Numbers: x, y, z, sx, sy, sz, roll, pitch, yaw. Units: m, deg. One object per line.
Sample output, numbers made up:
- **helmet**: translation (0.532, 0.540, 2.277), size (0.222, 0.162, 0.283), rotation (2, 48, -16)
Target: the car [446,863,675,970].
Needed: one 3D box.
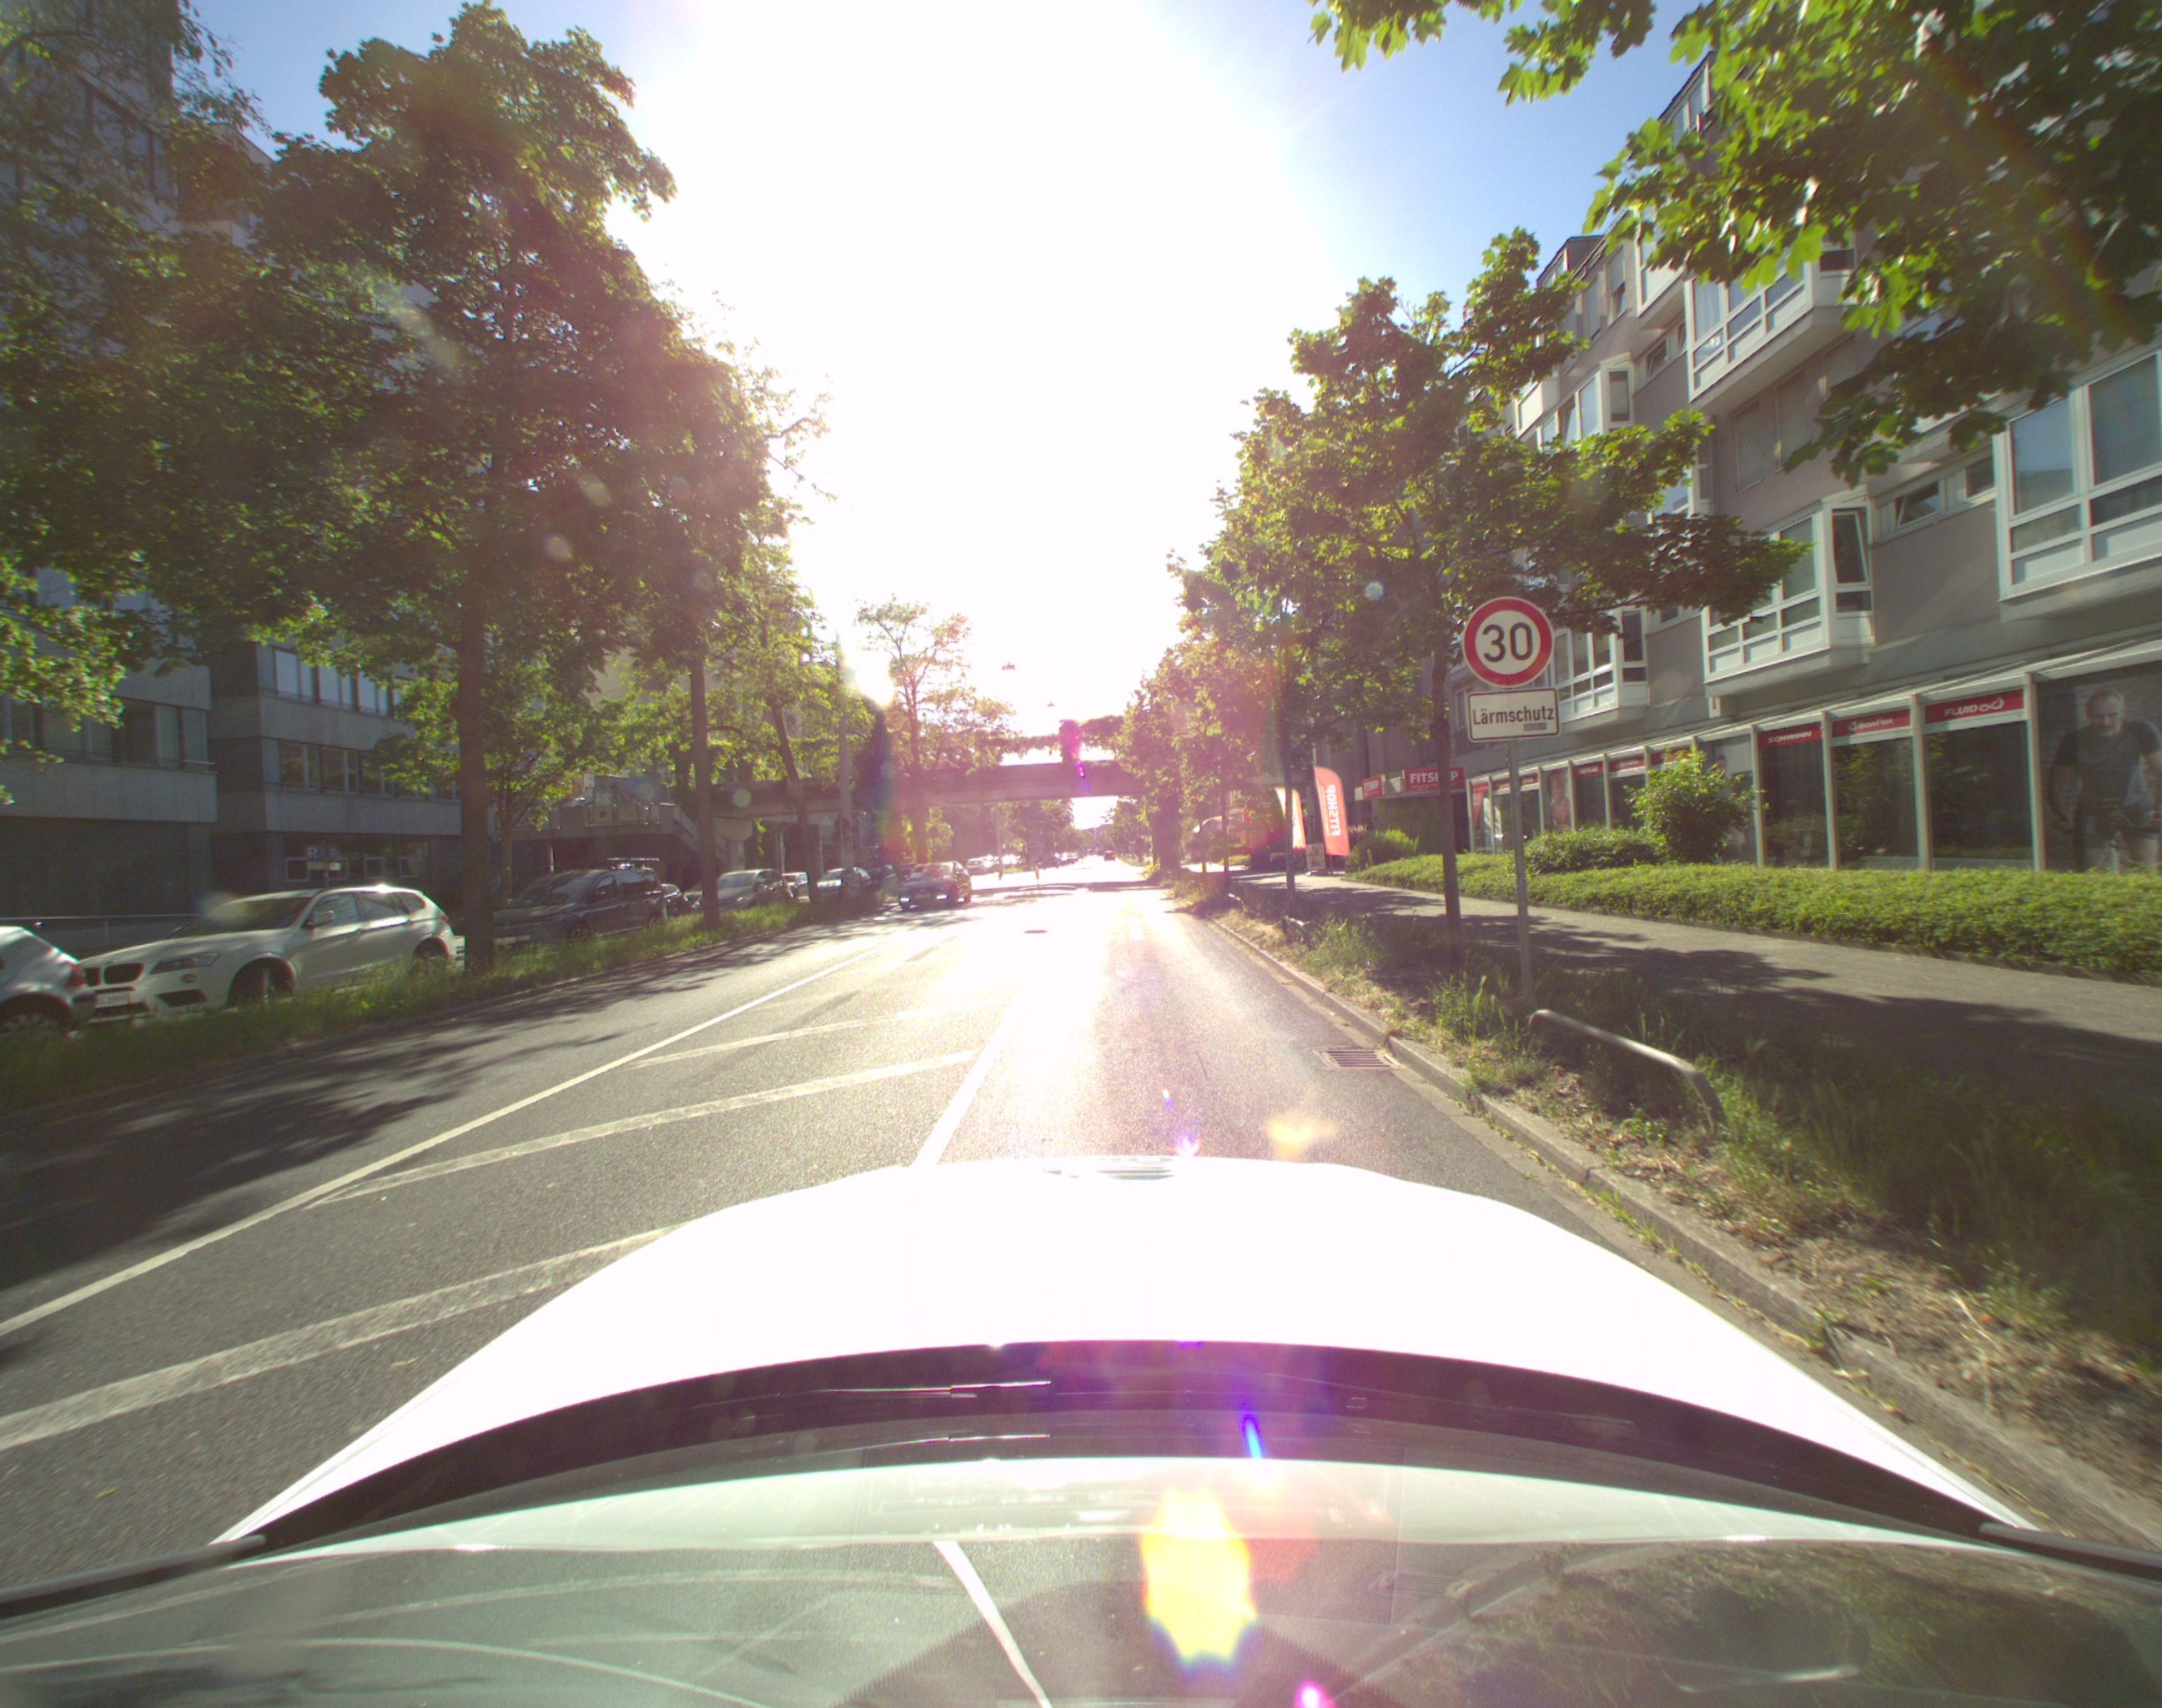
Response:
- **car**: translation (-10.828, 1.179, 17.441), size (1.849, 1.850, 4.562), rotation (-2, 0, 1)

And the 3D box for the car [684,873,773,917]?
- **car**: translation (-15.256, 1.735, 35.527), size (1.849, 1.523, 4.319), rotation (-4, 0, 1)

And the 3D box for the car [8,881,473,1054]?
- **car**: translation (-11.171, 1.348, 11.488), size (1.852, 1.684, 4.659), rotation (-2, 0, -4)

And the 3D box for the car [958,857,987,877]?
- **car**: translation (-9.113, 1.038, 68.721), size (1.849, 1.523, 4.078), rotation (-2, 0, 1)

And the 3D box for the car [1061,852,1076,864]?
- **car**: translation (-1.728, 0.511, 110.135), size (1.849, 1.523, 4.319), rotation (-2, 0, 1)

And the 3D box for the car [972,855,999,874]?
- **car**: translation (-8.772, 0.950, 75.246), size (1.849, 1.523, 4.319), rotation (-2, 0, 1)

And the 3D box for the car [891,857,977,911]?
- **car**: translation (-4.780, 0.927, 27.064), size (1.849, 1.439, 4.320), rotation (-5, 0, 1)

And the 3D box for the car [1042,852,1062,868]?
- **car**: translation (-2.953, 0.631, 83.378), size (1.849, 1.523, 4.319), rotation (-2, 0, 1)

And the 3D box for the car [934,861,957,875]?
- **car**: translation (-16.255, 1.688, 97.779), size (1.849, 1.523, 4.319), rotation (-2, 0, 1)

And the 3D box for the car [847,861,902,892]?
- **car**: translation (-9.888, 1.066, 39.272), size (1.627, 1.307, 3.583), rotation (-2, 0, 1)

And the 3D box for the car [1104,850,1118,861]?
- **car**: translation (4.398, 0.214, 118.233), size (1.848, 1.523, 4.322), rotation (-2, 0, 3)

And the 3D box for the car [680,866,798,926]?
- **car**: translation (-10.523, 1.231, 25.370), size (1.848, 1.568, 3.874), rotation (-2, 0, 2)

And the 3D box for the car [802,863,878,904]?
- **car**: translation (-10.283, 1.230, 35.065), size (1.849, 1.523, 4.319), rotation (-2, 0, 1)

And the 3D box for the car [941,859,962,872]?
- **car**: translation (-16.480, 1.501, 103.797), size (1.849, 1.523, 4.319), rotation (-2, 0, 1)

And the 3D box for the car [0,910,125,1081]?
- **car**: translation (-11.134, 1.405, 6.582), size (1.848, 1.523, 4.067), rotation (-2, 0, 3)
